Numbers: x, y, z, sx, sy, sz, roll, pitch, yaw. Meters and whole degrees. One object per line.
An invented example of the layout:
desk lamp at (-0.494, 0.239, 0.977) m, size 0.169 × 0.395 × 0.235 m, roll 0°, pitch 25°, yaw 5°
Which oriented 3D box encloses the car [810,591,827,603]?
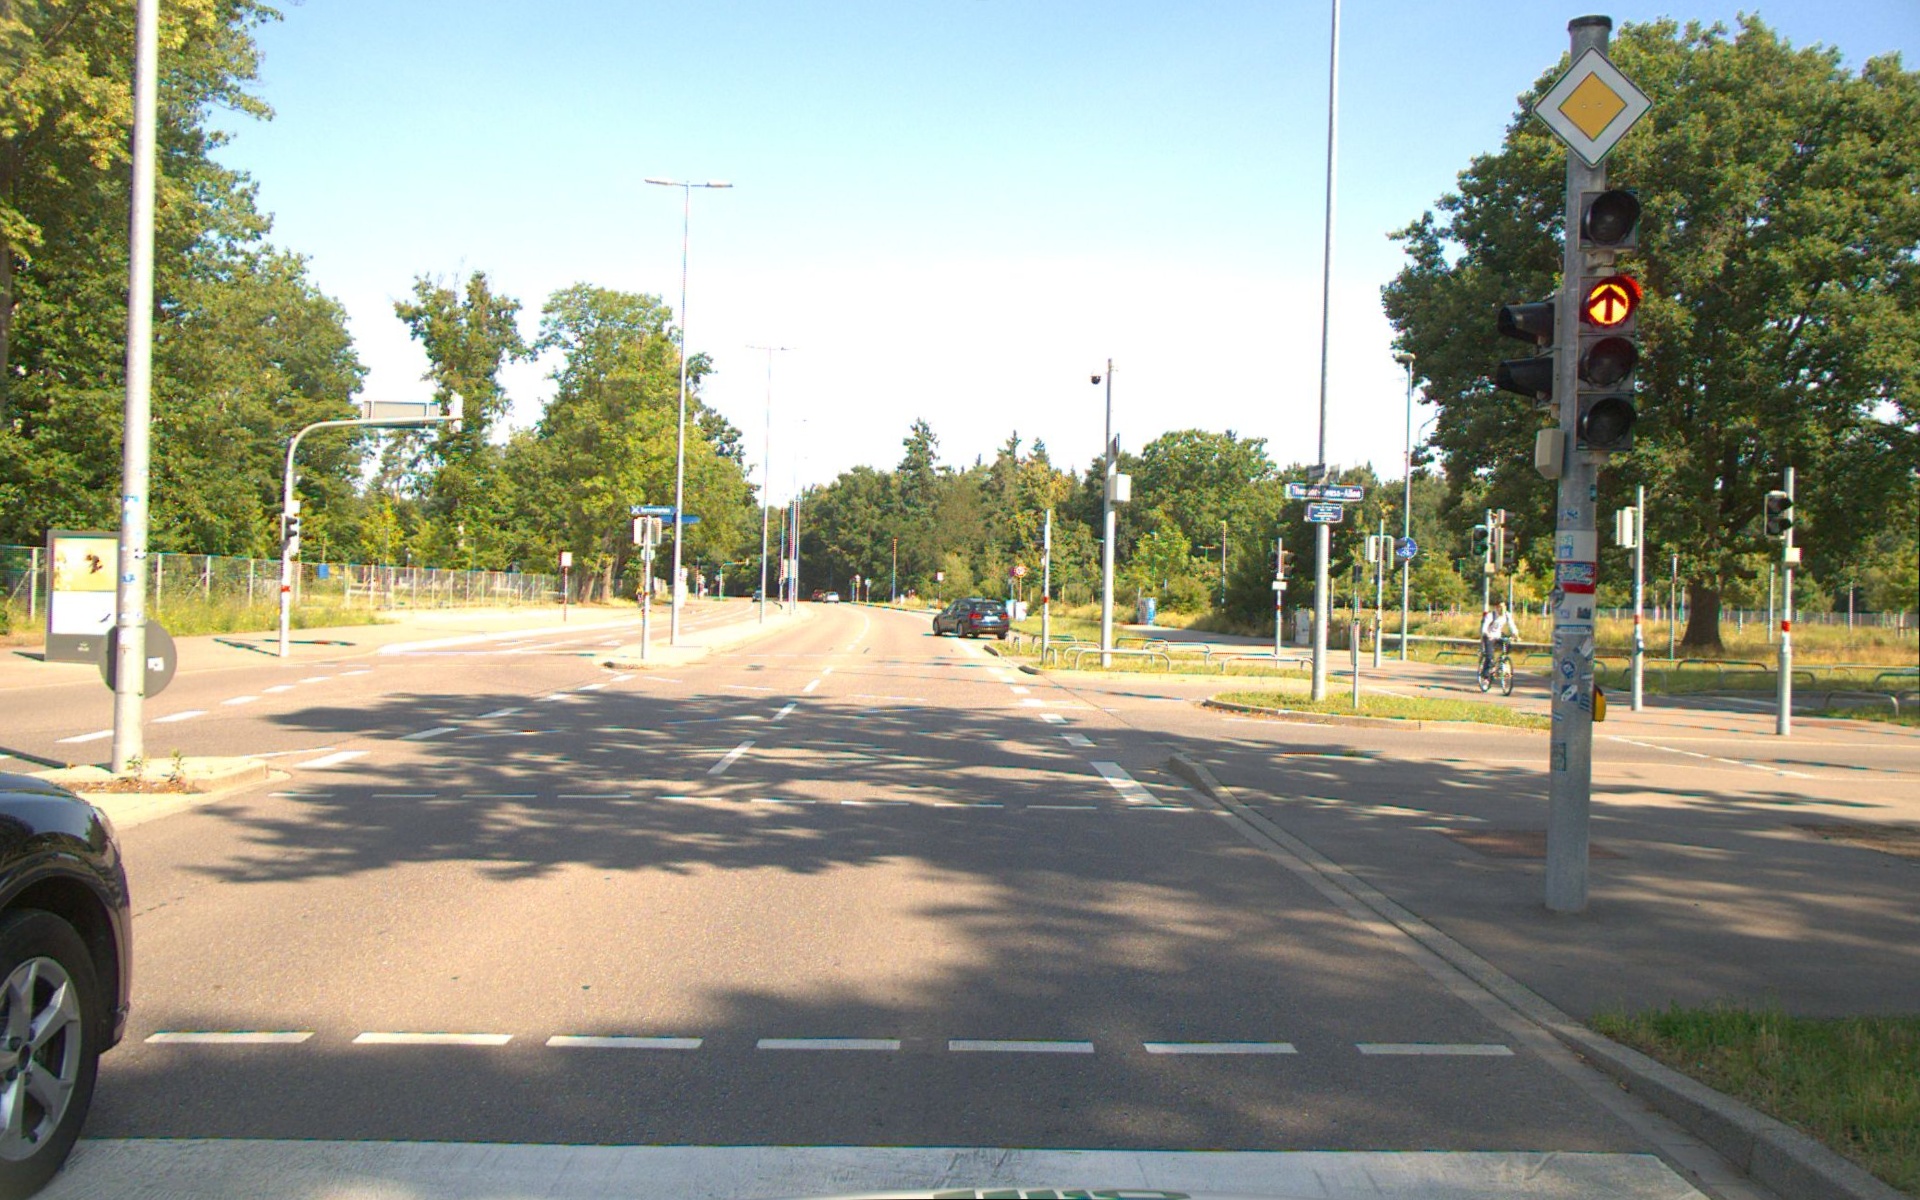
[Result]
car at (-20.380, -0.411, 237.964) m, size 1.958 × 1.624 × 3.989 m, roll 1°, pitch 0°, yaw -12°

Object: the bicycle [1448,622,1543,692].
bicycle at (10.145, 1.063, 31.412) m, size 0.711 × 1.220 × 2.093 m, roll 1°, pitch 0°, yaw -13°

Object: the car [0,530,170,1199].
car at (-2.951, 0.632, 2.409) m, size 1.653 × 1.571 × 4.148 m, roll 0°, pitch 0°, yaw -1°

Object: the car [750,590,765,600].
car at (-28.324, -0.732, 231.438) m, size 1.779 × 1.412 × 4.149 m, roll -1°, pitch 0°, yaw -12°

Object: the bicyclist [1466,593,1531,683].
bicyclist at (10.178, 0.713, 31.299) m, size 0.711 × 1.667 × 1.054 m, roll 1°, pitch 0°, yaw -14°

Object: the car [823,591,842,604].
car at (-17.039, -0.328, 221.321) m, size 1.959 × 1.780 × 3.988 m, roll 1°, pitch 0°, yaw -12°

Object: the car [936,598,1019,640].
car at (0.621, 0.676, 61.439) m, size 1.909 × 1.445 × 4.273 m, roll 1°, pitch 0°, yaw -16°
